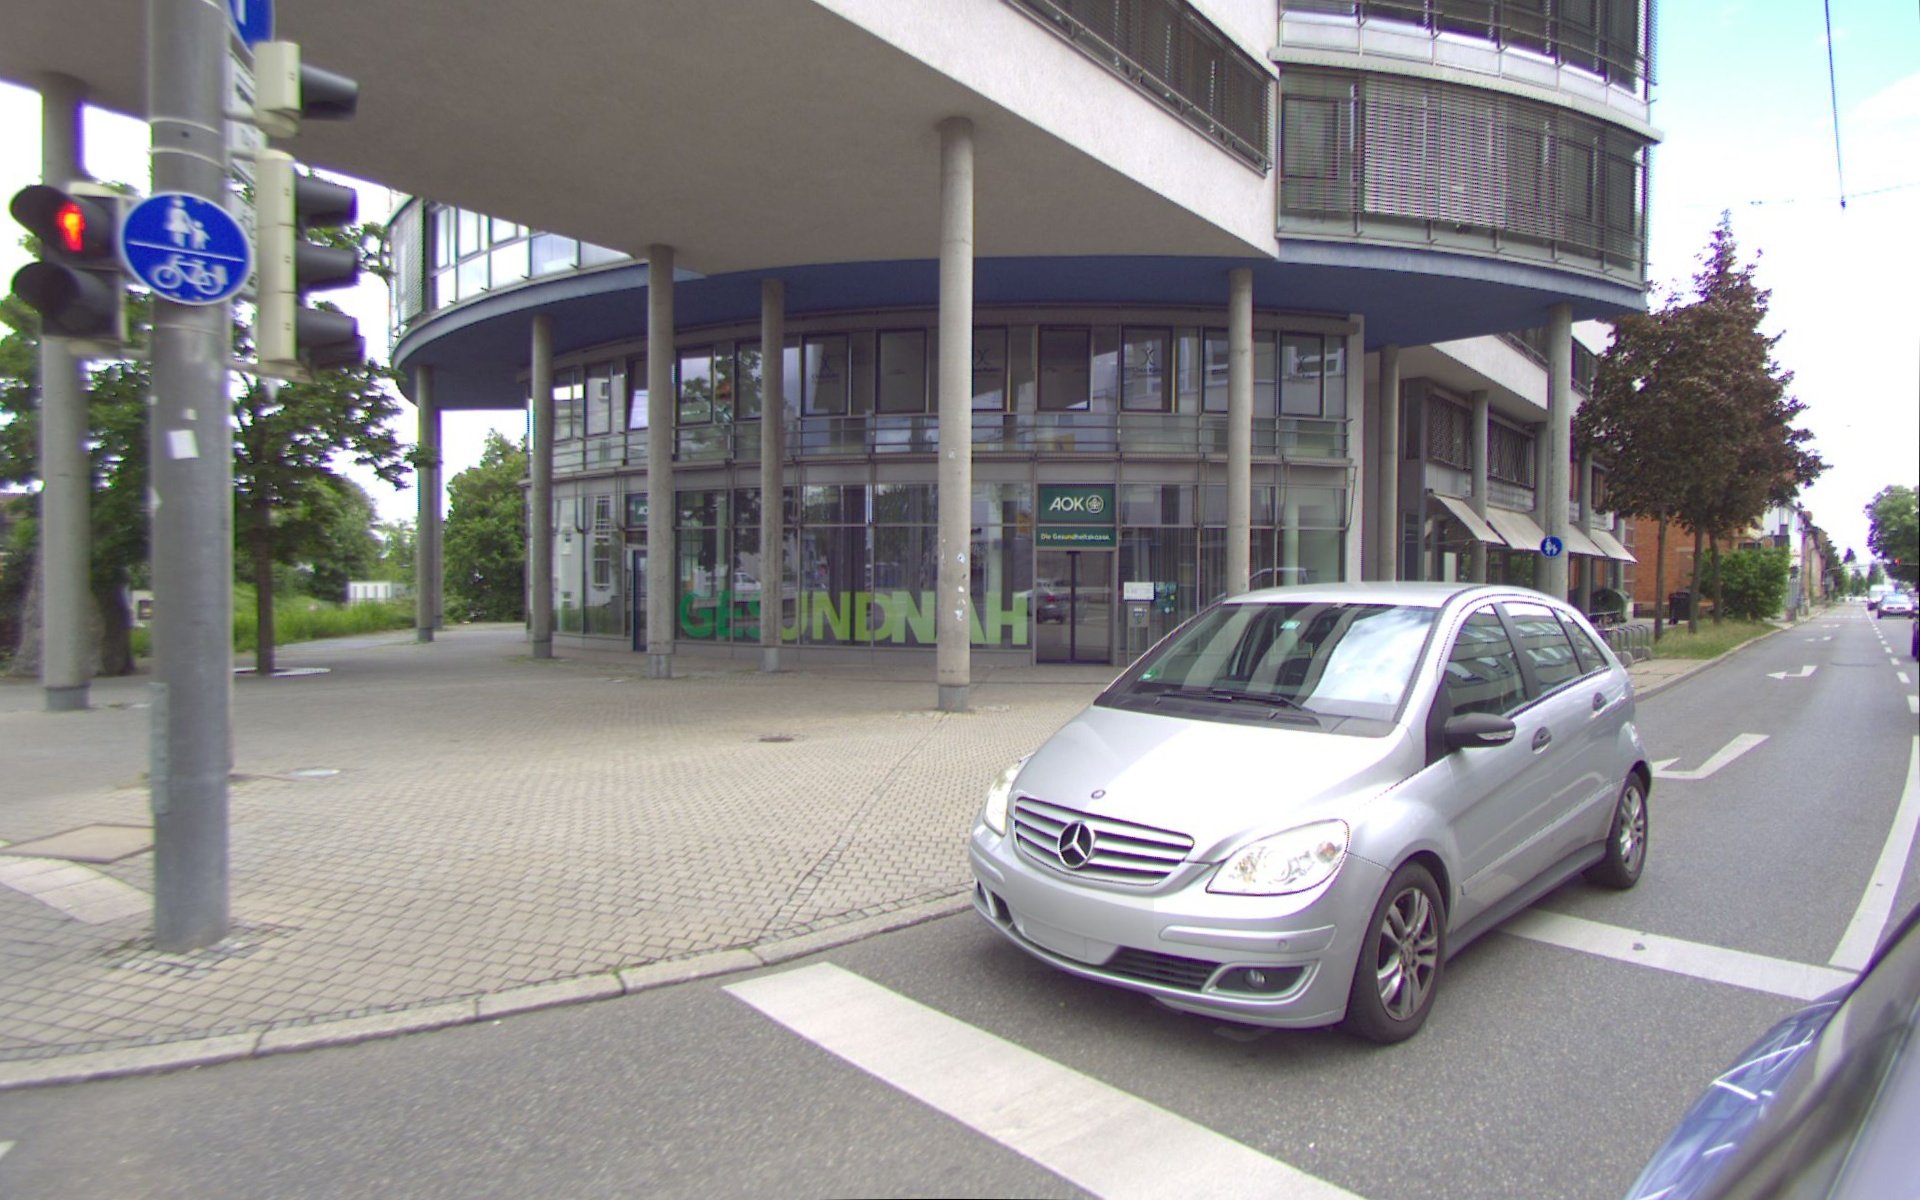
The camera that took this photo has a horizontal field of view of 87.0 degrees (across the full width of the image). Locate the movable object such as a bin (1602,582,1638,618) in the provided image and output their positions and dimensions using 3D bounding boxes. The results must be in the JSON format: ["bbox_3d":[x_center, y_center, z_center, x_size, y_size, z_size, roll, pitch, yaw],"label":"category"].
[{"bbox_3d":[28.236,-0.023,43.281,1.097,1.483,1.313,3,3,41],"label":"movable object such as a bin"}]

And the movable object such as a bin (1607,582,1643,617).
[{"bbox_3d":[29.102,-0.045,44.306,1.121,1.483,1.313,3,3,41],"label":"movable object such as a bin"}]

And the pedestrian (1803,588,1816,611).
[{"bbox_3d":[63.374,-0.043,75.510,0.687,1.752,0.640,1,1,41],"label":"pedestrian"}]

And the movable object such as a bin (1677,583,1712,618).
[{"bbox_3d":[32.647,0.012,44.964,1.097,1.483,1.313,3,3,41],"label":"movable object such as a bin"}]

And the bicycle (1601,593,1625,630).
[{"bbox_3d":[20.435,0.341,31.660,0.360,1.100,1.998,0,0,40],"label":"bicycle"}]

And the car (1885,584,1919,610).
[{"bbox_3d":[60.124,-0.203,64.276,1.960,1.545,4.500,2,2,44],"label":"car"}]

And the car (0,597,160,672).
[{"bbox_3d":[-20.055,0.699,22.521,1.704,1.428,4.006,1,1,-7],"label":"car"}]

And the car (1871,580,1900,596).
[{"bbox_3d":[92.648,-1.178,101.322,1.958,1.545,4.505,2,2,40],"label":"car"}]

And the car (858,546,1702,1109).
[{"bbox_3d":[1.906,0.621,5.077,4.492,1.566,1.996,-1,-1,-41],"label":"car"}]

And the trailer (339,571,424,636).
[{"bbox_3d":[-24.754,0.092,43.443,1.845,2.646,4.331,0,1,-11],"label":"trailer"}]

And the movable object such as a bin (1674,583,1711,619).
[{"bbox_3d":[31.785,0.038,43.921,1.126,1.483,1.392,3,3,41],"label":"movable object such as a bin"}]
